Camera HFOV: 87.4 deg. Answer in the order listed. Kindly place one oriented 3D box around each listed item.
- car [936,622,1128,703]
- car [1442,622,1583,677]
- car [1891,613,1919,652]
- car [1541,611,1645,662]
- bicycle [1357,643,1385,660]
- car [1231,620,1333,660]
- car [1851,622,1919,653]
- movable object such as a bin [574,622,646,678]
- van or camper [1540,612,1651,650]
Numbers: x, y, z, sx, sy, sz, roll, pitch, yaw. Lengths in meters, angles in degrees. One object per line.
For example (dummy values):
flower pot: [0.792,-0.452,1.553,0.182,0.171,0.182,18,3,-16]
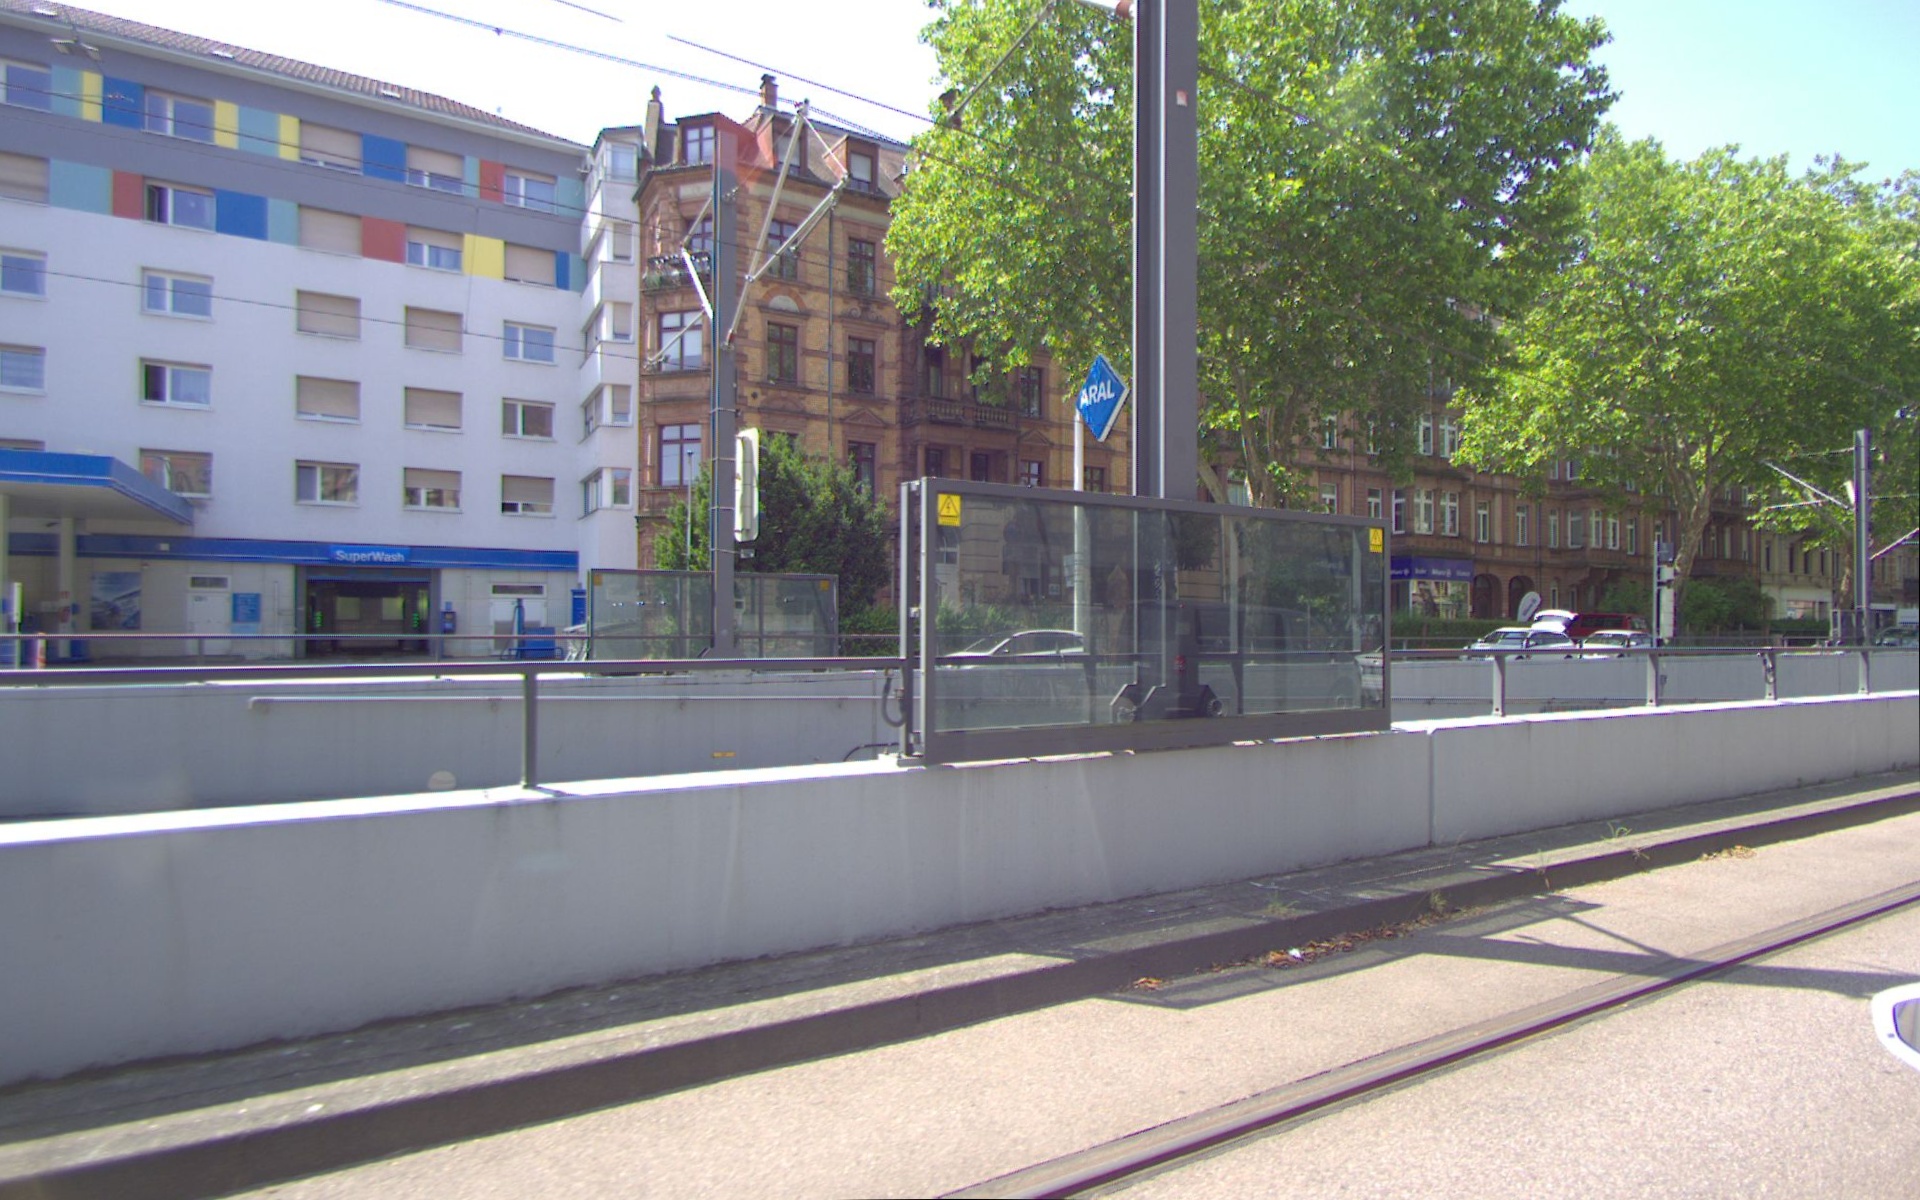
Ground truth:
car: [1.544,1.266,21.269,3.828,1.582,1.538,1,-1,-27]
car: [18.005,1.570,32.662,4.664,1.646,1.983,1,-1,-31]
car: [49.809,1.673,51.505,4.101,1.929,1.983,1,-1,-31]
car: [22.188,1.250,35.171,3.665,1.707,1.645,1,-1,-31]
bicycle: [15.933,1.987,38.915,1.329,0.659,0.278,1,-1,-32]
car: [12.229,1.504,38.277,1.635,1.444,3.460,1,-2,-34]
car: [45.277,1.806,48.787,4.149,1.419,1.842,1,-1,-31]
movable object such as a bin: [-9.284,1.303,26.595,1.453,1.403,1.773,1,-1,-32]
van or camper: [32.335,1.537,51.287,1.905,1.861,4.532,1,-1,-24]
